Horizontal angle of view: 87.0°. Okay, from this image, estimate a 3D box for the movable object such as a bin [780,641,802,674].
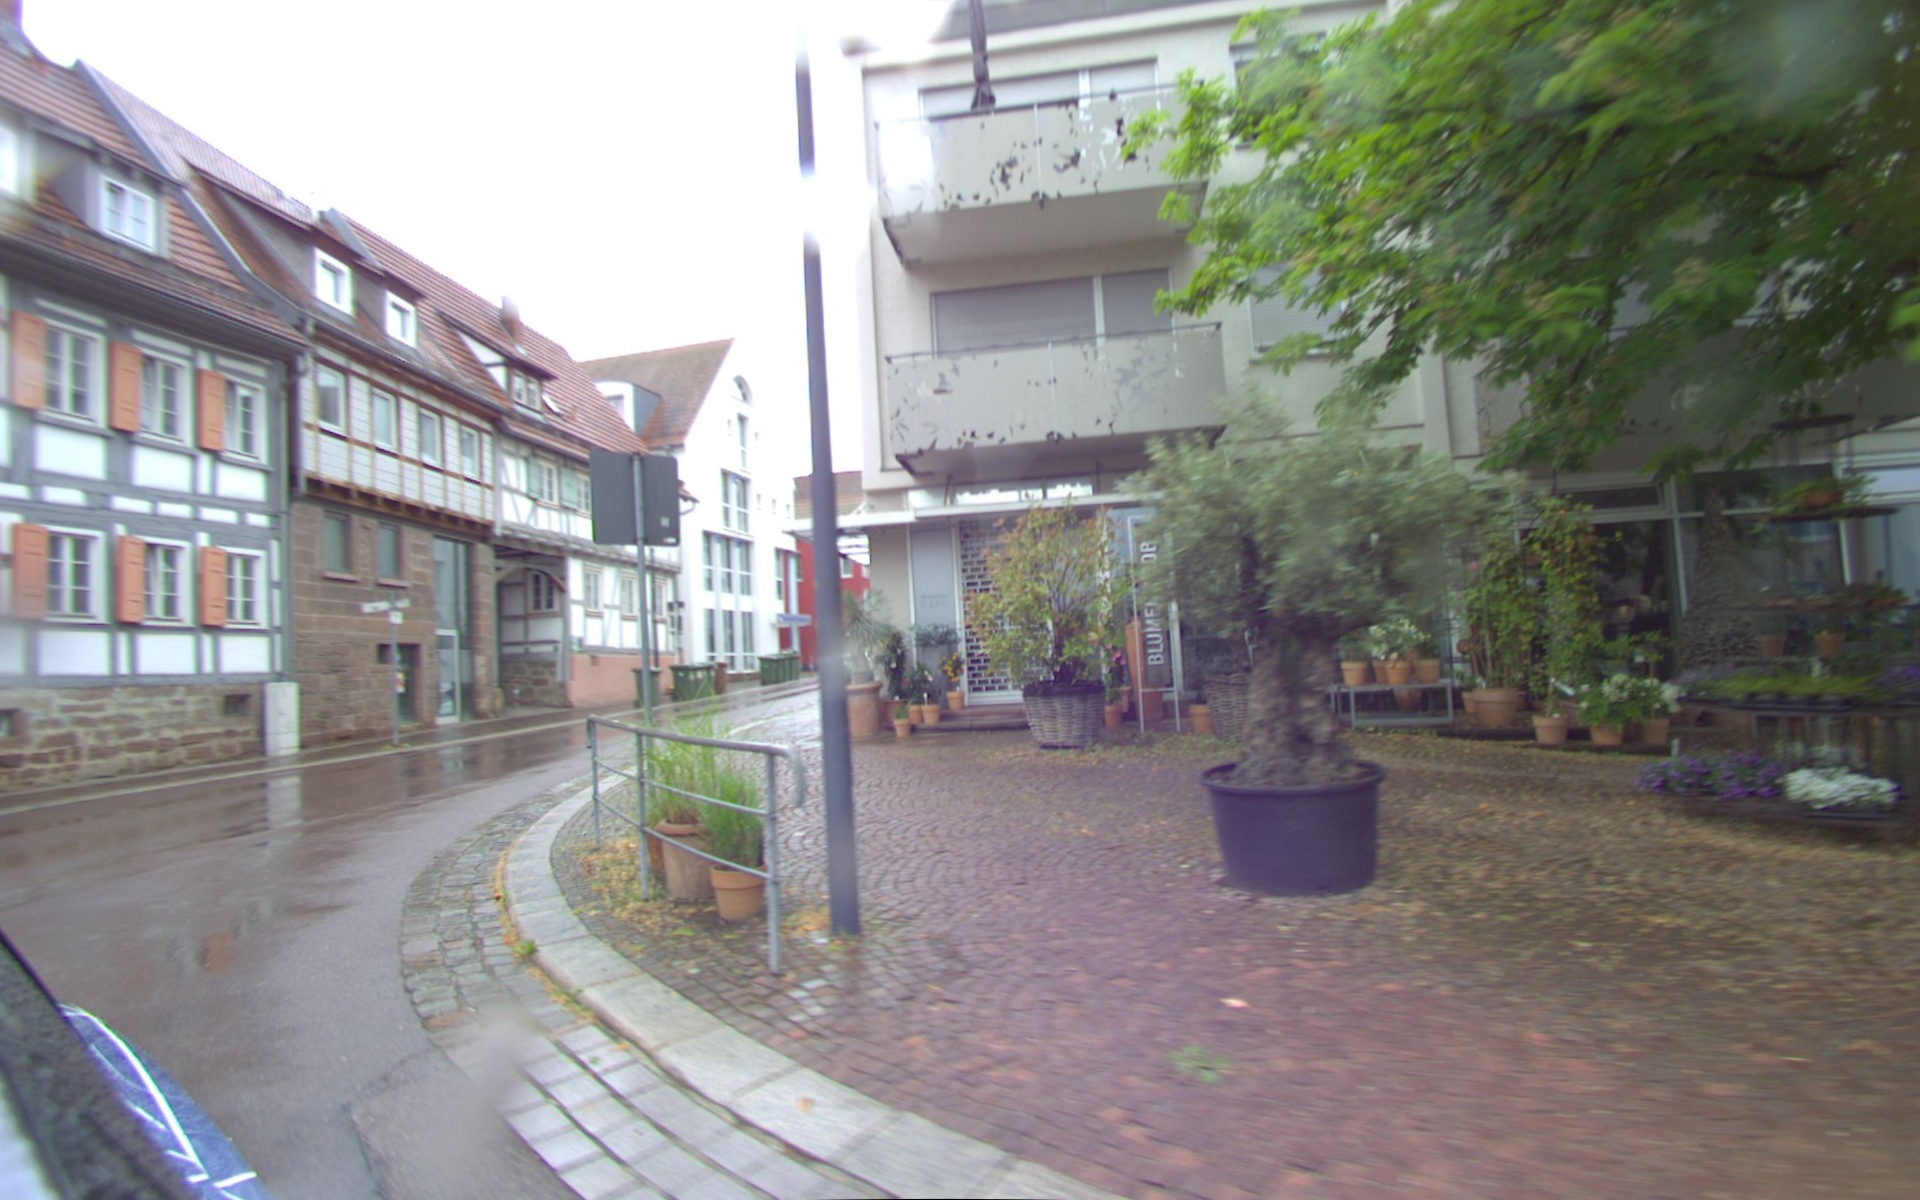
[{"bbox_3d":[-6.882,2.345,41.278,0.633,1.300,0.629,-5,-2,13],"label":"movable object such as a bin"}]

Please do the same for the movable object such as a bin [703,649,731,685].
[{"bbox_3d":[-7.984,2.184,33.232,0.671,1.105,0.650,-5,-3,3],"label":"movable object such as a bin"}]

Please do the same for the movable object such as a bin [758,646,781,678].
[{"bbox_3d":[-7.277,2.374,38.732,0.612,1.140,0.630,-5,-2,12],"label":"movable object such as a bin"}]

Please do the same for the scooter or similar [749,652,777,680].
[{"bbox_3d":[-8.804,2.929,45.285,0.661,1.154,1.439,-5,-2,14],"label":"scooter or similar"}]

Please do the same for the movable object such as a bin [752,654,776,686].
[{"bbox_3d":[-7.358,2.615,38.041,0.612,1.140,0.630,-5,-2,12],"label":"movable object such as a bin"}]

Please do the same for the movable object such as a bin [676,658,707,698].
[{"bbox_3d":[-8.079,2.348,30.495,0.633,1.156,0.601,-5,-2,12],"label":"movable object such as a bin"}]

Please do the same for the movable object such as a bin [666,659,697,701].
[{"bbox_3d":[-8.211,2.350,29.826,0.633,1.156,0.578,-5,-2,12],"label":"movable object such as a bin"}]

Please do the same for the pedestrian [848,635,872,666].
[{"bbox_3d":[-5.778,2.939,58.487,1.166,1.710,1.176,-3,-3,4],"label":"pedestrian"}]

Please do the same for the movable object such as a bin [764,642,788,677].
[{"bbox_3d":[-7.160,2.316,39.398,0.633,1.300,0.630,-5,-2,12],"label":"movable object such as a bin"}]

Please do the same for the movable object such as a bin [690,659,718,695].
[{"bbox_3d":[-8.086,2.434,32.017,0.663,1.089,0.587,-3,-1,5],"label":"movable object such as a bin"}]

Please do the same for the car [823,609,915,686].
[{"bbox_3d":[-2.435,1.285,28.139,1.707,1.839,4.421,-4,-2,5],"label":"car"}]

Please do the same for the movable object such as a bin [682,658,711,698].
[{"bbox_3d":[-8.129,2.394,31.278,0.632,1.156,0.631,-4,-2,5],"label":"movable object such as a bin"}]

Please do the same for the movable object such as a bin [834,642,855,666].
[{"bbox_3d":[-5.747,2.687,50.252,0.796,1.139,0.861,-4,-2,5],"label":"movable object such as a bin"}]

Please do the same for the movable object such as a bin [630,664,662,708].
[{"bbox_3d":[-8.573,2.339,27.652,0.604,1.136,0.598,-4,-2,7],"label":"movable object such as a bin"}]

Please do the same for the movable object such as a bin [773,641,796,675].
[{"bbox_3d":[-6.983,2.318,40.301,0.633,1.300,0.630,-5,-2,12],"label":"movable object such as a bin"}]
